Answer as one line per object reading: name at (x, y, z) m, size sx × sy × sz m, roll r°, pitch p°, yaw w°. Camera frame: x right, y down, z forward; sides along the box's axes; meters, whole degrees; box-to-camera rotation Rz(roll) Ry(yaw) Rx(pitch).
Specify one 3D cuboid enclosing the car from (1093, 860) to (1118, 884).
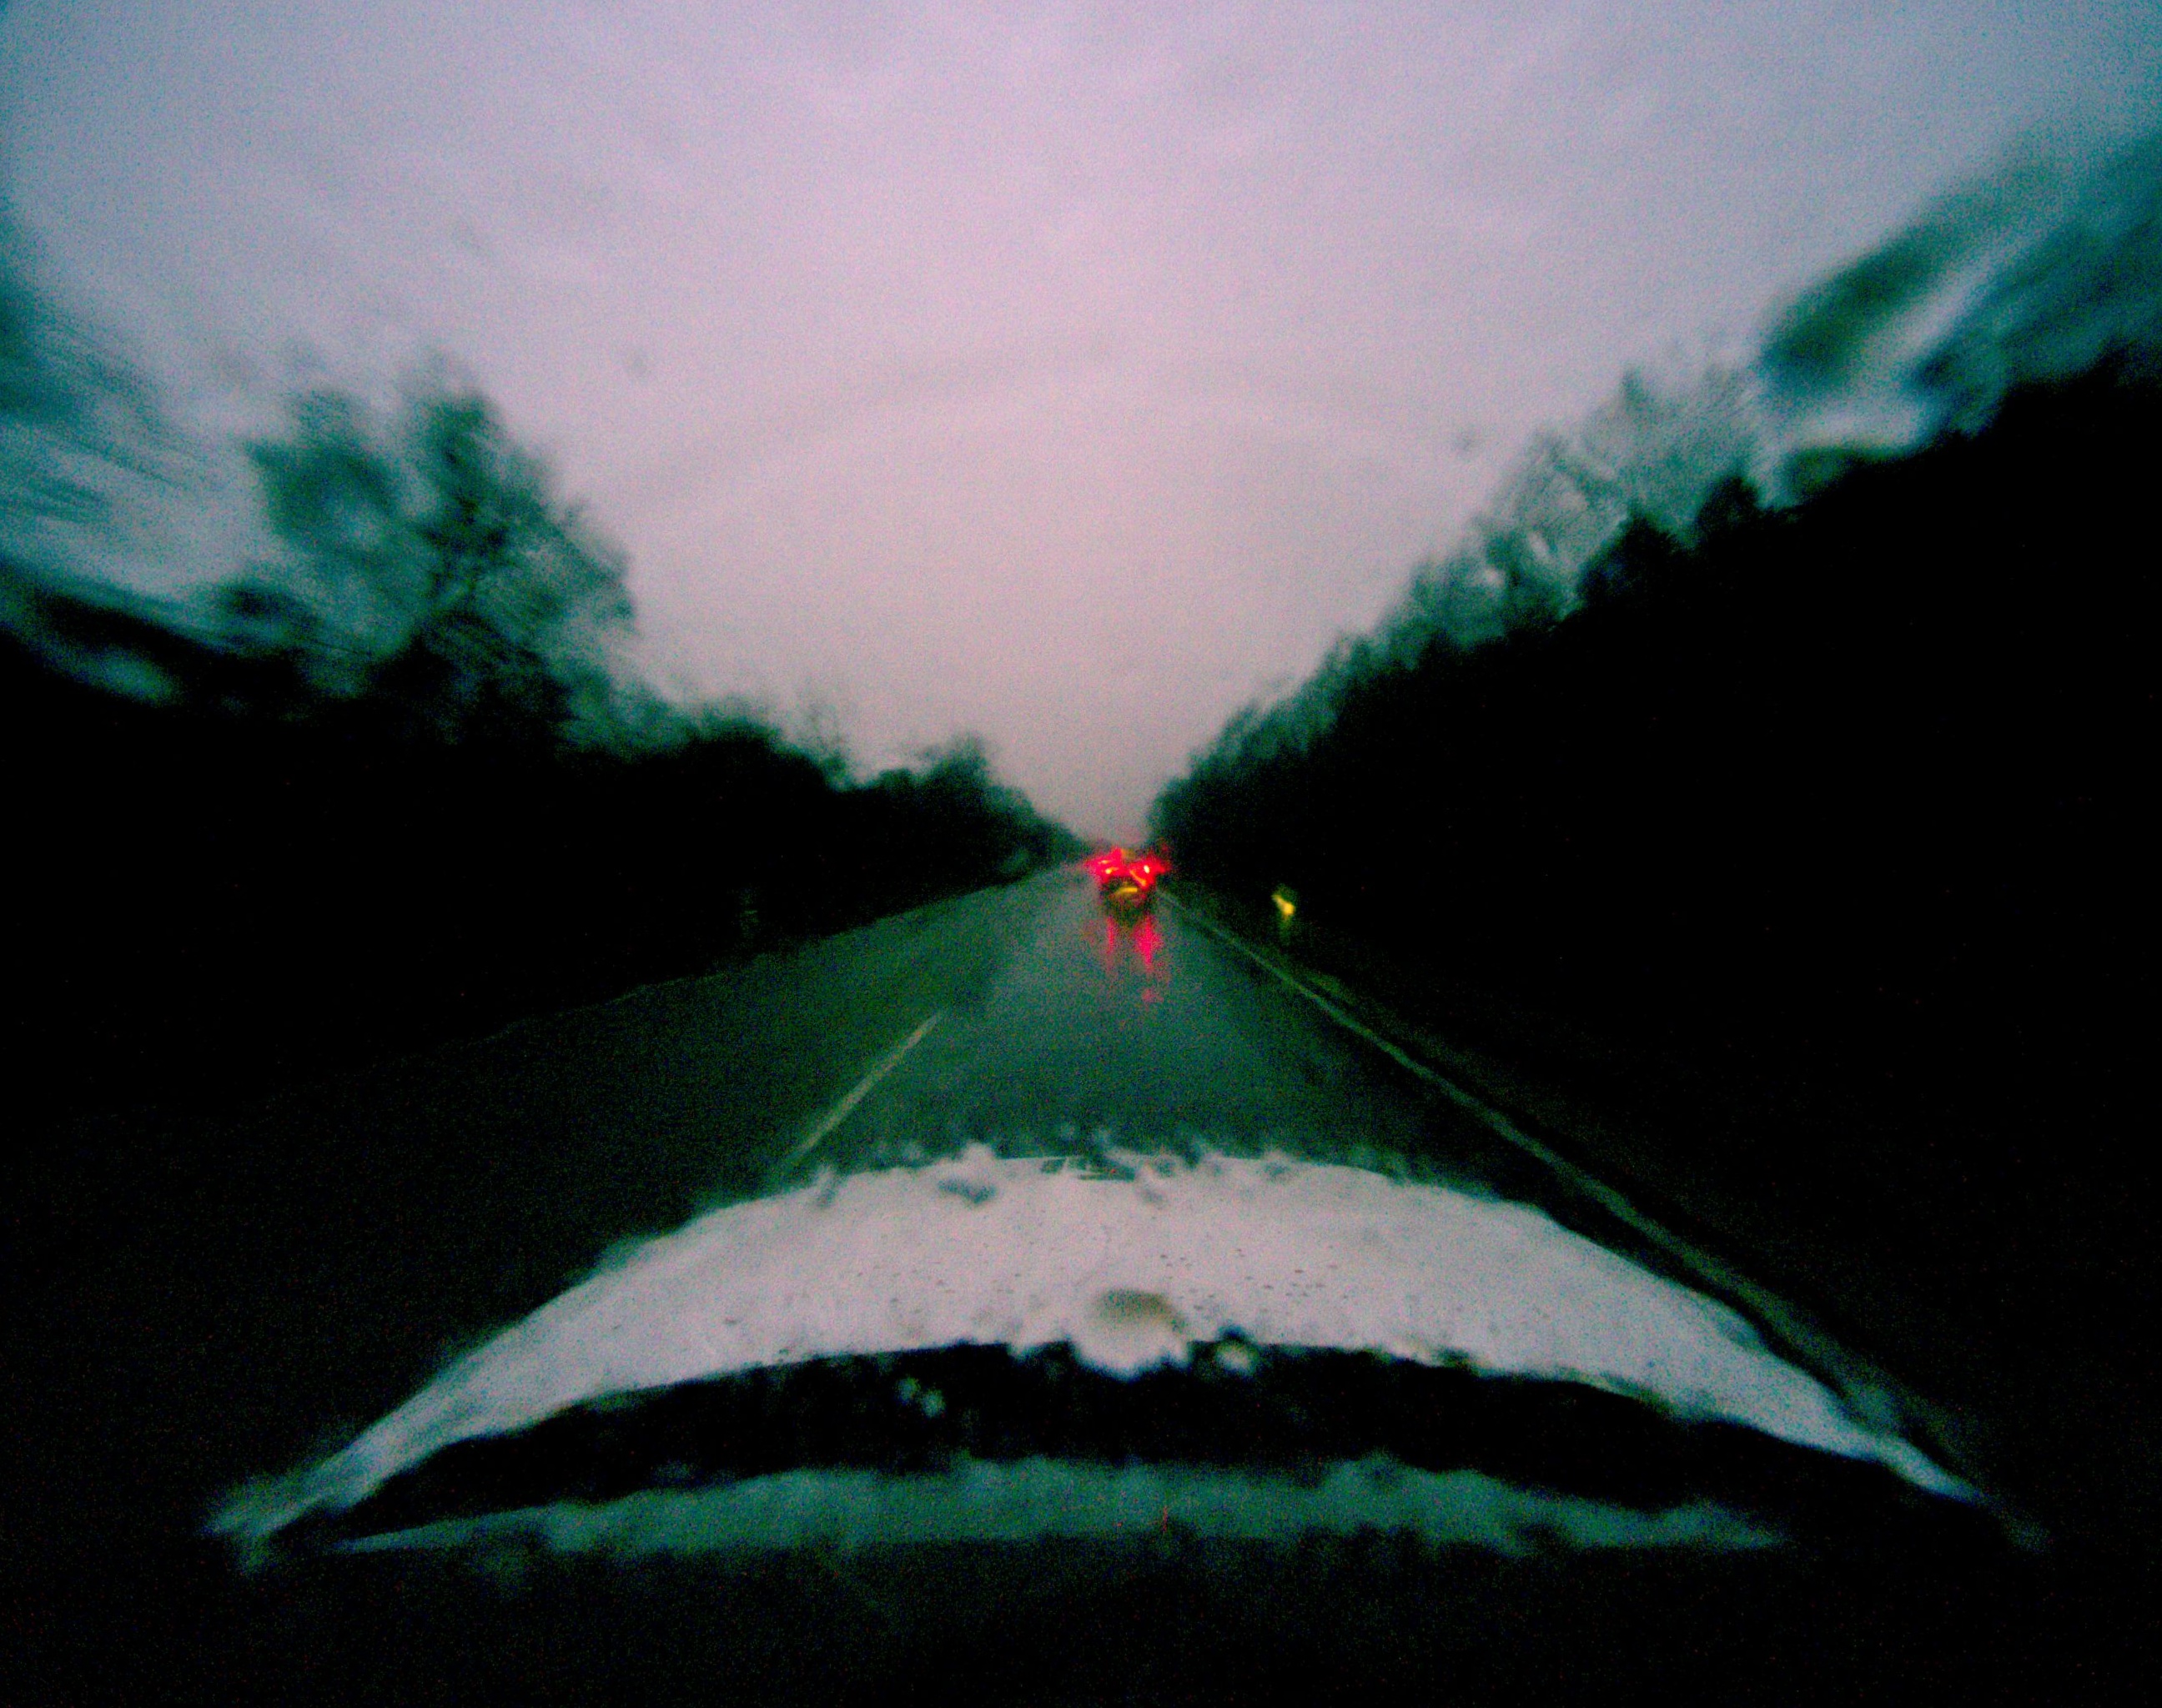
car at (1.810, 1.276, 59.625) m, size 1.720 × 1.643 × 4.003 m, roll -1°, pitch -1°, yaw 3°

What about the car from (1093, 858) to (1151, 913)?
car at (1.323, 0.964, 26.353) m, size 1.720 × 1.643 × 4.003 m, roll -1°, pitch -1°, yaw 3°
